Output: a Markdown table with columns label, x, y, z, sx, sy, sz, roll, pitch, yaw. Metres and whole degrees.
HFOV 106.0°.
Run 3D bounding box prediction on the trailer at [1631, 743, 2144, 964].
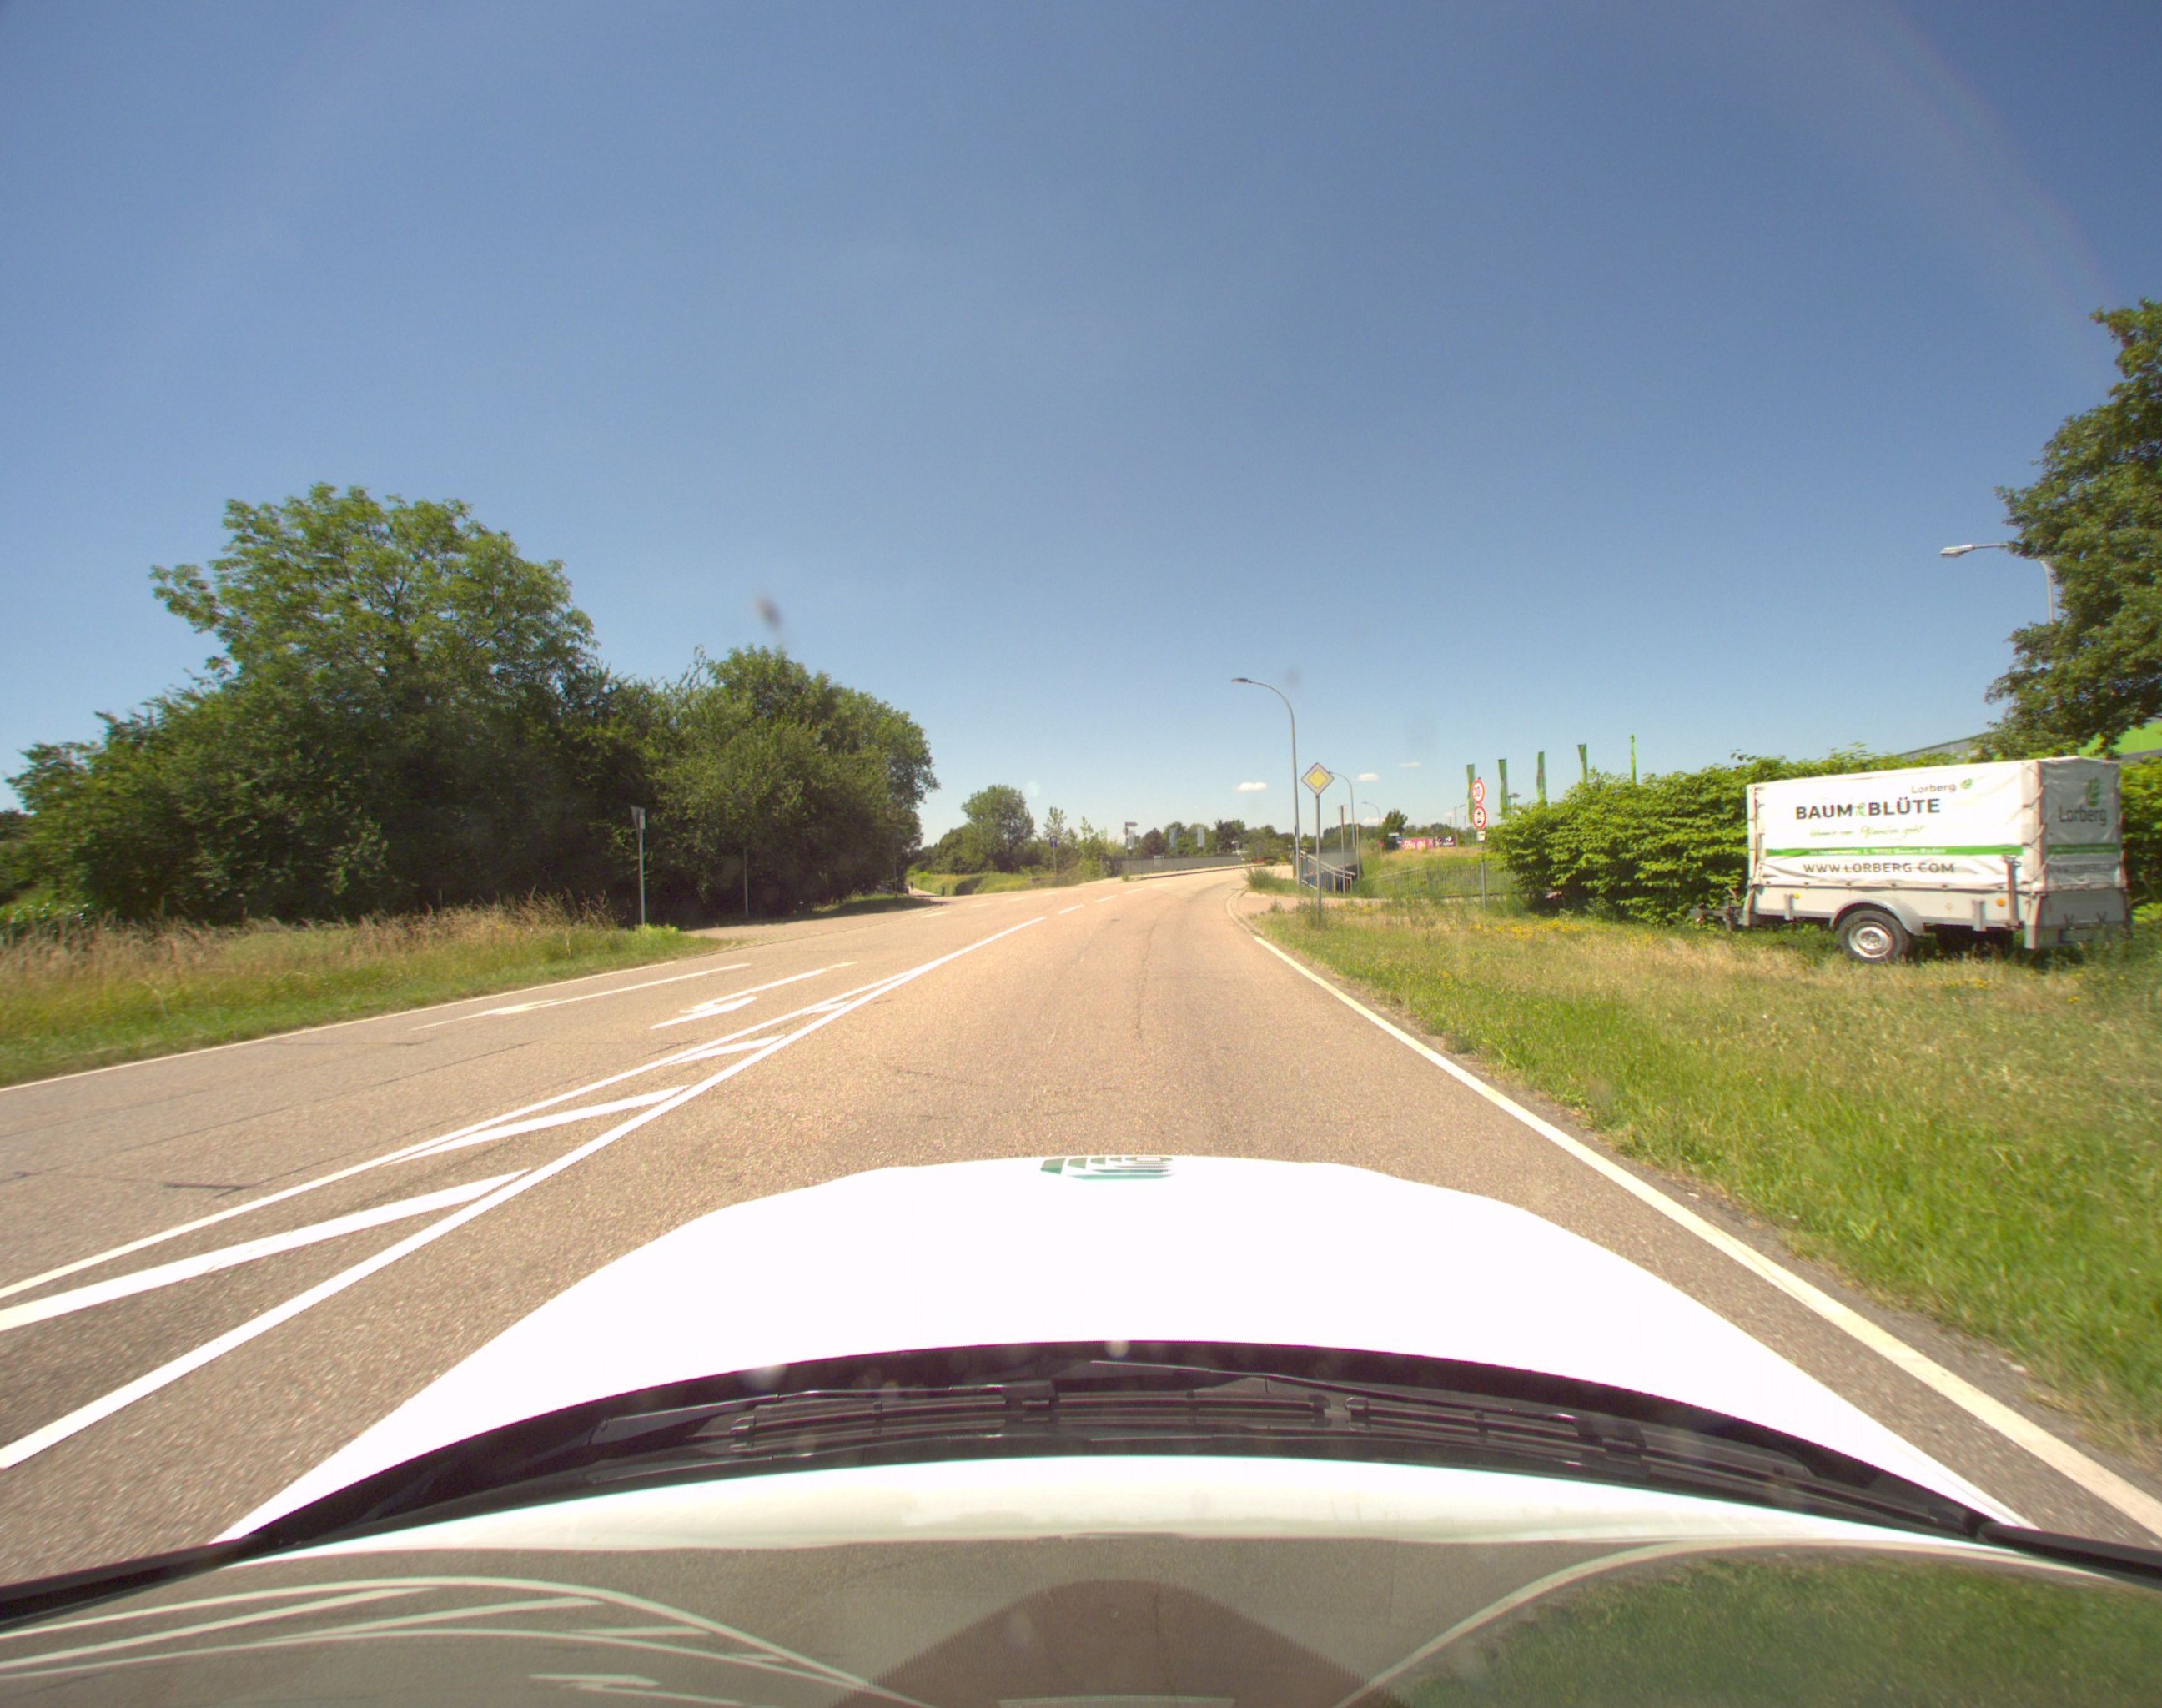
| label | x | y | z | sx | sy | sz | roll | pitch | yaw |
| --- | --- | --- | --- | --- | --- | --- | --- | --- | --- |
| trailer | 9.226 | 0.019 | 9.826 | 1.851 | 2.078 | 3.945 | -2 | -1 | -18 |

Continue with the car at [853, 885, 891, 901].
| label | x | y | z | sx | sy | sz | roll | pitch | yaw |
| --- | --- | --- | --- | --- | --- | --- | --- | --- | --- |
| car | -23.886 | 4.462 | 93.189 | 3.999 | 1.571 | 1.987 | -3 | 0 | -19 |

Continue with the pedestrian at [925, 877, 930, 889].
| label | x | y | z | sx | sy | sz | roll | pitch | yaw |
| --- | --- | --- | --- | --- | --- | --- | --- | --- | --- |
| pedestrian | -26.822 | 5.092 | 142.498 | 0.614 | 2.013 | 0.621 | -3 | -1 | -20 |

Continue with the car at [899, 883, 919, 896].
| label | x | y | z | sx | sy | sz | roll | pitch | yaw |
| --- | --- | --- | --- | --- | --- | --- | --- | --- | --- |
| car | -23.714 | 4.869 | 112.215 | 2.001 | 1.596 | 3.972 | -3 | -1 | -20 |
